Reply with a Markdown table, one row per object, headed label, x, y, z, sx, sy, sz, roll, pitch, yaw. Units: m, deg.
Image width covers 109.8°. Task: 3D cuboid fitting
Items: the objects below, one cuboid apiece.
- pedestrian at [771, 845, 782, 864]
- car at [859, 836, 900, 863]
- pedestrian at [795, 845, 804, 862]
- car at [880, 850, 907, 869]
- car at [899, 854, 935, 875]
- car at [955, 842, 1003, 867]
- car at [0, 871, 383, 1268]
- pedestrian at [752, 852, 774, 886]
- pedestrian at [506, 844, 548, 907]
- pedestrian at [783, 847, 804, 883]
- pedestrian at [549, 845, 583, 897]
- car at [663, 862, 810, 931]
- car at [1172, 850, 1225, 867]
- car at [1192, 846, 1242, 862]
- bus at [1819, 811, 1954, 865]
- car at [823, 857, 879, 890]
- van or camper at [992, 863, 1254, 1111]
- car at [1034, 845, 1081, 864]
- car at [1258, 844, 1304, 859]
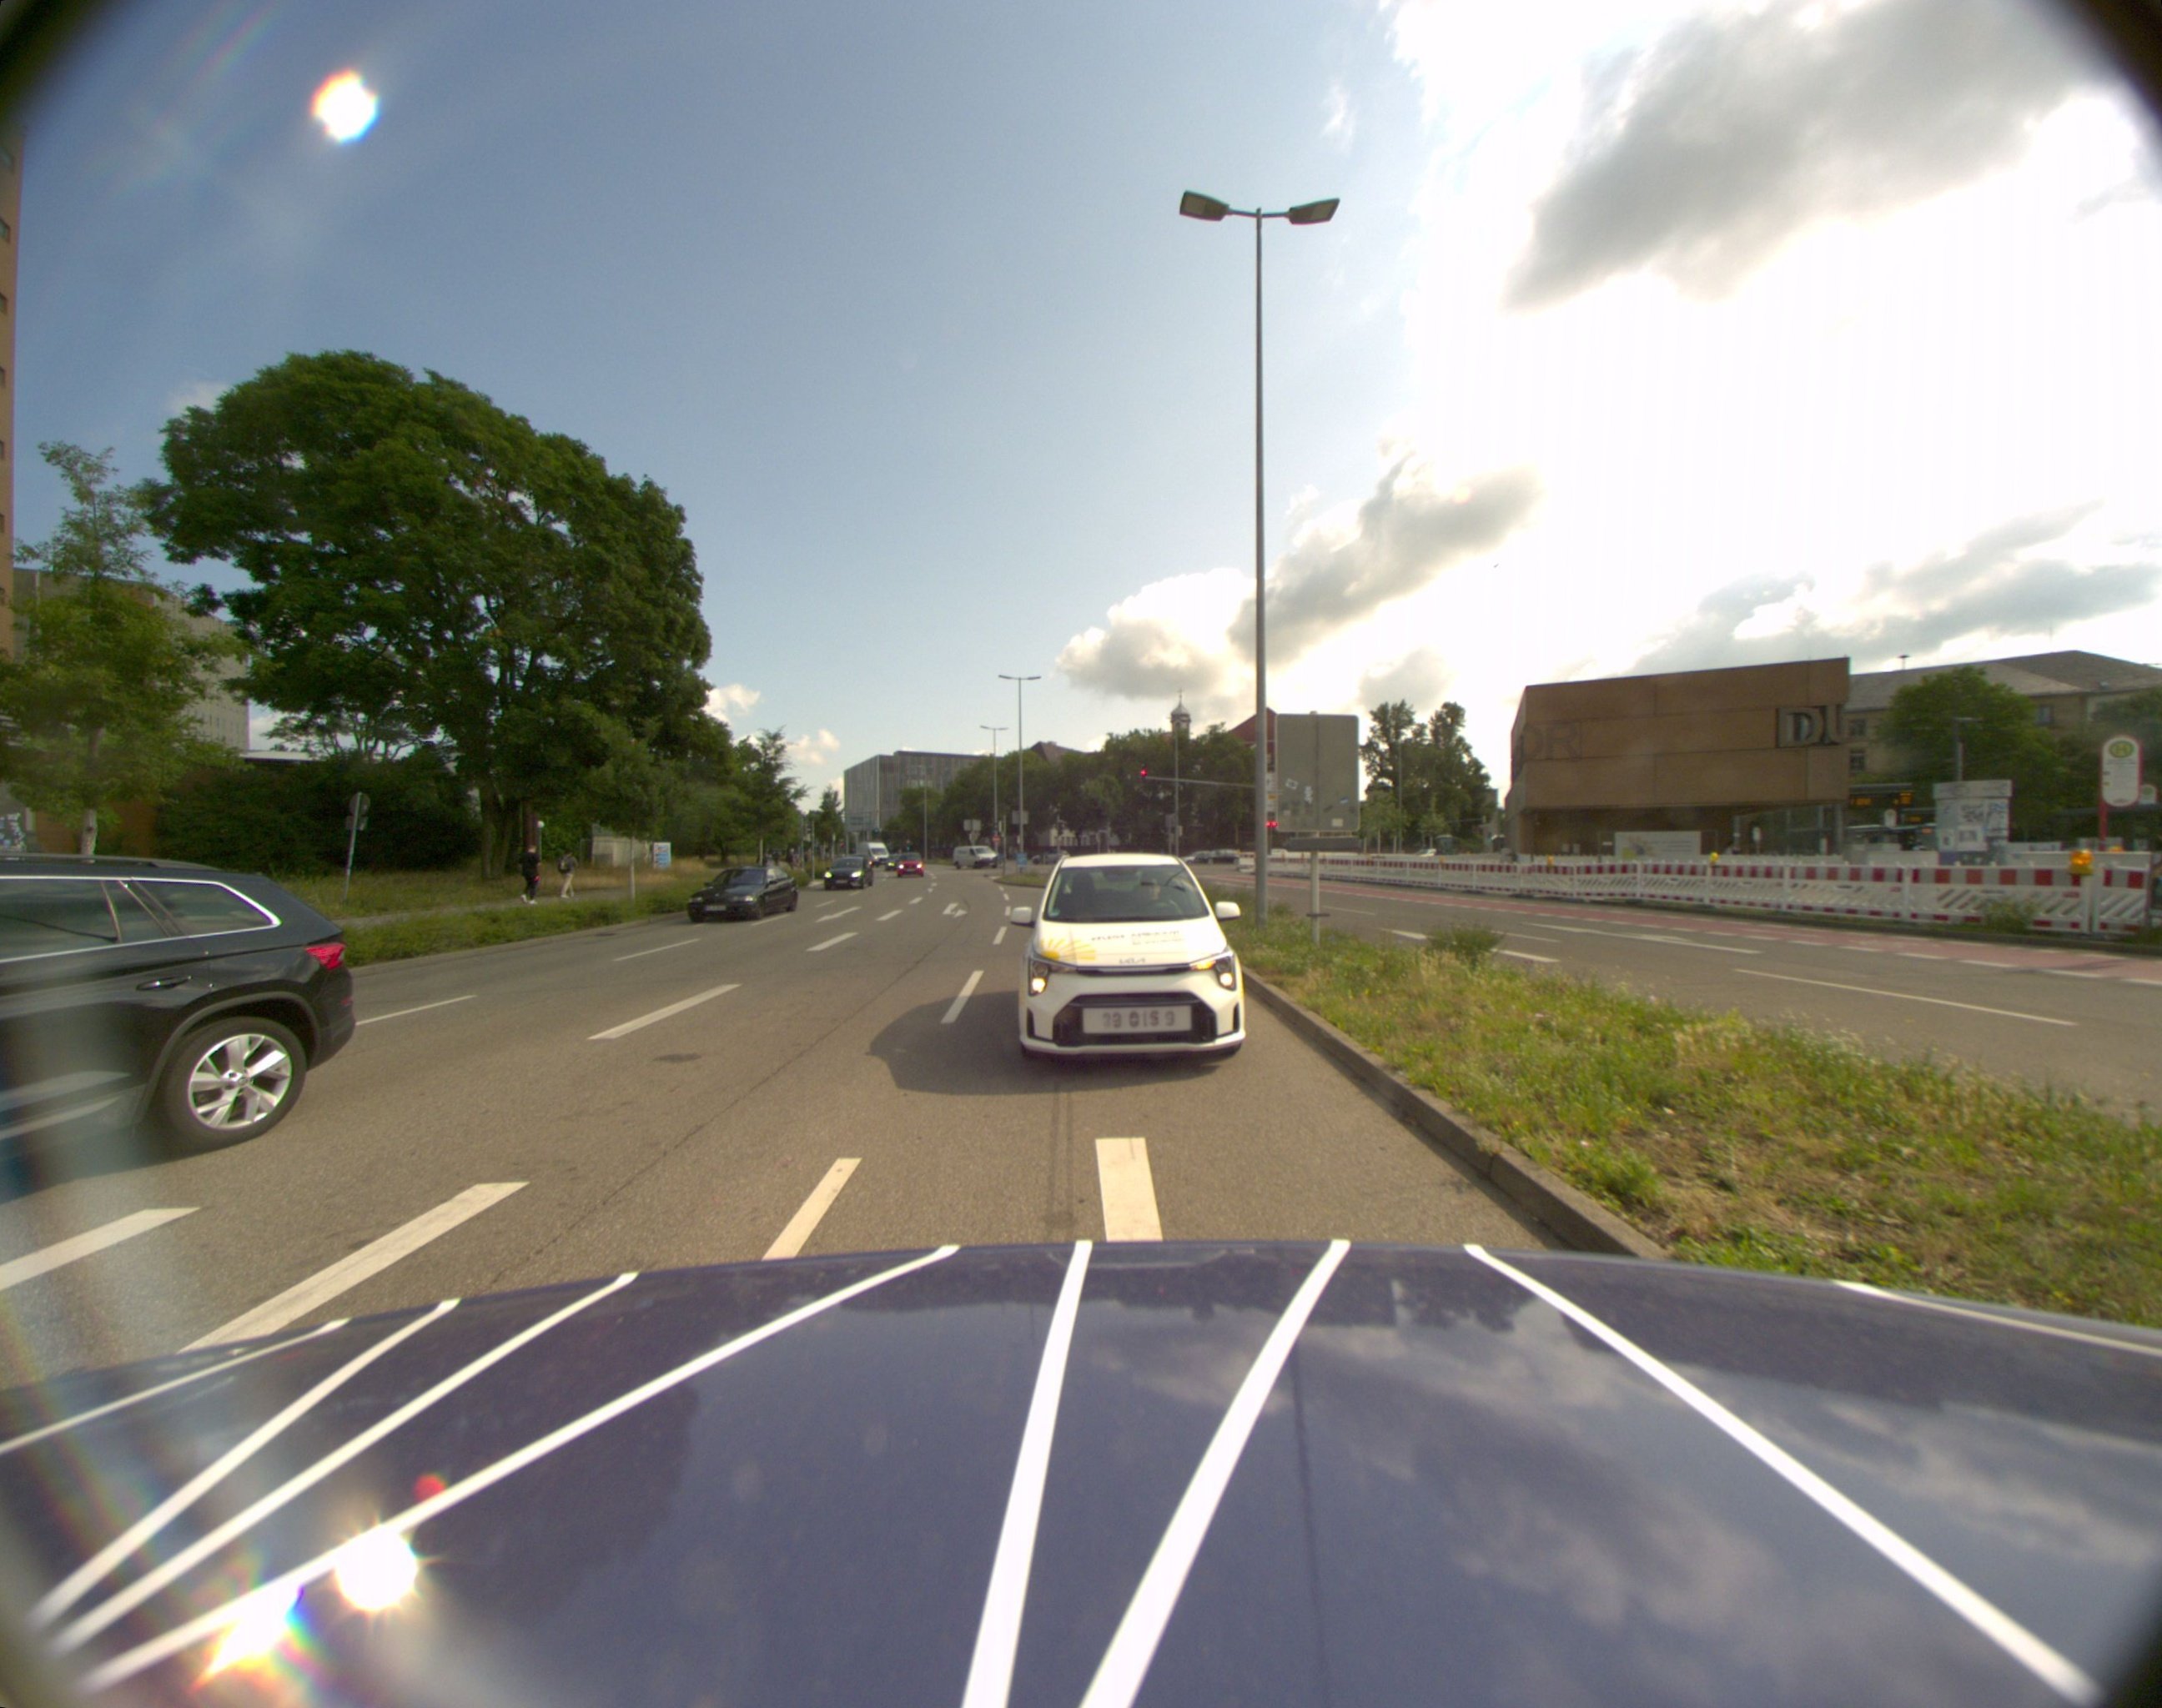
| label | x | y | z | sx | sy | sz | roll | pitch | yaw |
| --- | --- | --- | --- | --- | --- | --- | --- | --- | --- |
| pedestrian | -33.537 | 0.046 | 83.664 | 0.988 | 2.002 | 1.128 | -2 | 1 | -16 |
| car | -21.832 | -0.479 | 82.206 | 2.490 | 2.862 | 6.133 | -1 | 1 | -32 |
| pedestrian | -34.442 | -0.036 | 92.954 | 0.988 | 2.002 | 1.128 | -1 | 1 | -16 |
| car | -16.463 | 0.478 | 66.708 | 1.892 | 1.608 | 3.994 | -2 | 0 | -19 |
| car | -10.665 | 0.664 | 49.524 | 1.608 | 1.207 | 3.010 | -2 | 1 | 1 |
| car | -8.891 | 0.065 | 65.888 | 2.003 | 2.002 | 5.061 | -3 | 0 | -35 |
| car | -5.660 | 0.988 | 2.712 | 1.999 | 1.658 | 4.683 | -2 | 0 | -1 |
| pedestrian | -19.371 | 0.885 | 46.296 | 0.988 | 2.002 | 1.128 | -2 | 1 | -16 |
| pedestrian | -16.722 | 0.638 | 22.955 | 0.760 | 1.860 | 0.645 | 2 | 1 | 1 |
| pedestrian | -16.585 | 0.620 | 43.837 | 0.988 | 2.002 | 1.128 | -2 | 1 | -16 |
| pedestrian | -17.563 | 0.572 | 25.922 | 0.671 | 1.736 | 0.645 | 2 | 1 | 1 |
| car | -9.078 | 1.048 | 20.523 | 1.999 | 1.390 | 4.506 | -2 | 2 | -2 |
| car | 11.567 | 0.441 | 75.024 | 4.787 | 1.559 | 1.996 | 0 | 0 | -21 |
| car | 12.109 | 0.019 | 67.586 | 4.136 | 1.382 | 1.756 | 0 | 0 | -29 |
| bus | 58.734 | -1.118 | 55.928 | 2.957 | 3.487 | 12.275 | 0 | 1 | 28 |
| car | -10.698 | 0.863 | 35.579 | 1.713 | 1.445 | 3.998 | -1 | 0 | -5 |
| van or camper | 0.339 | 0.849 | 6.729 | 1.627 | 1.467 | 4.000 | 0 | 0 | 2 |
| car | -2.369 | 0.027 | 75.804 | 4.331 | 1.674 | 2.004 | -2 | 0 | 35 |
| car | 18.767 | -0.251 | 71.197 | 4.136 | 1.382 | 1.756 | 0 | 0 | -29 |
